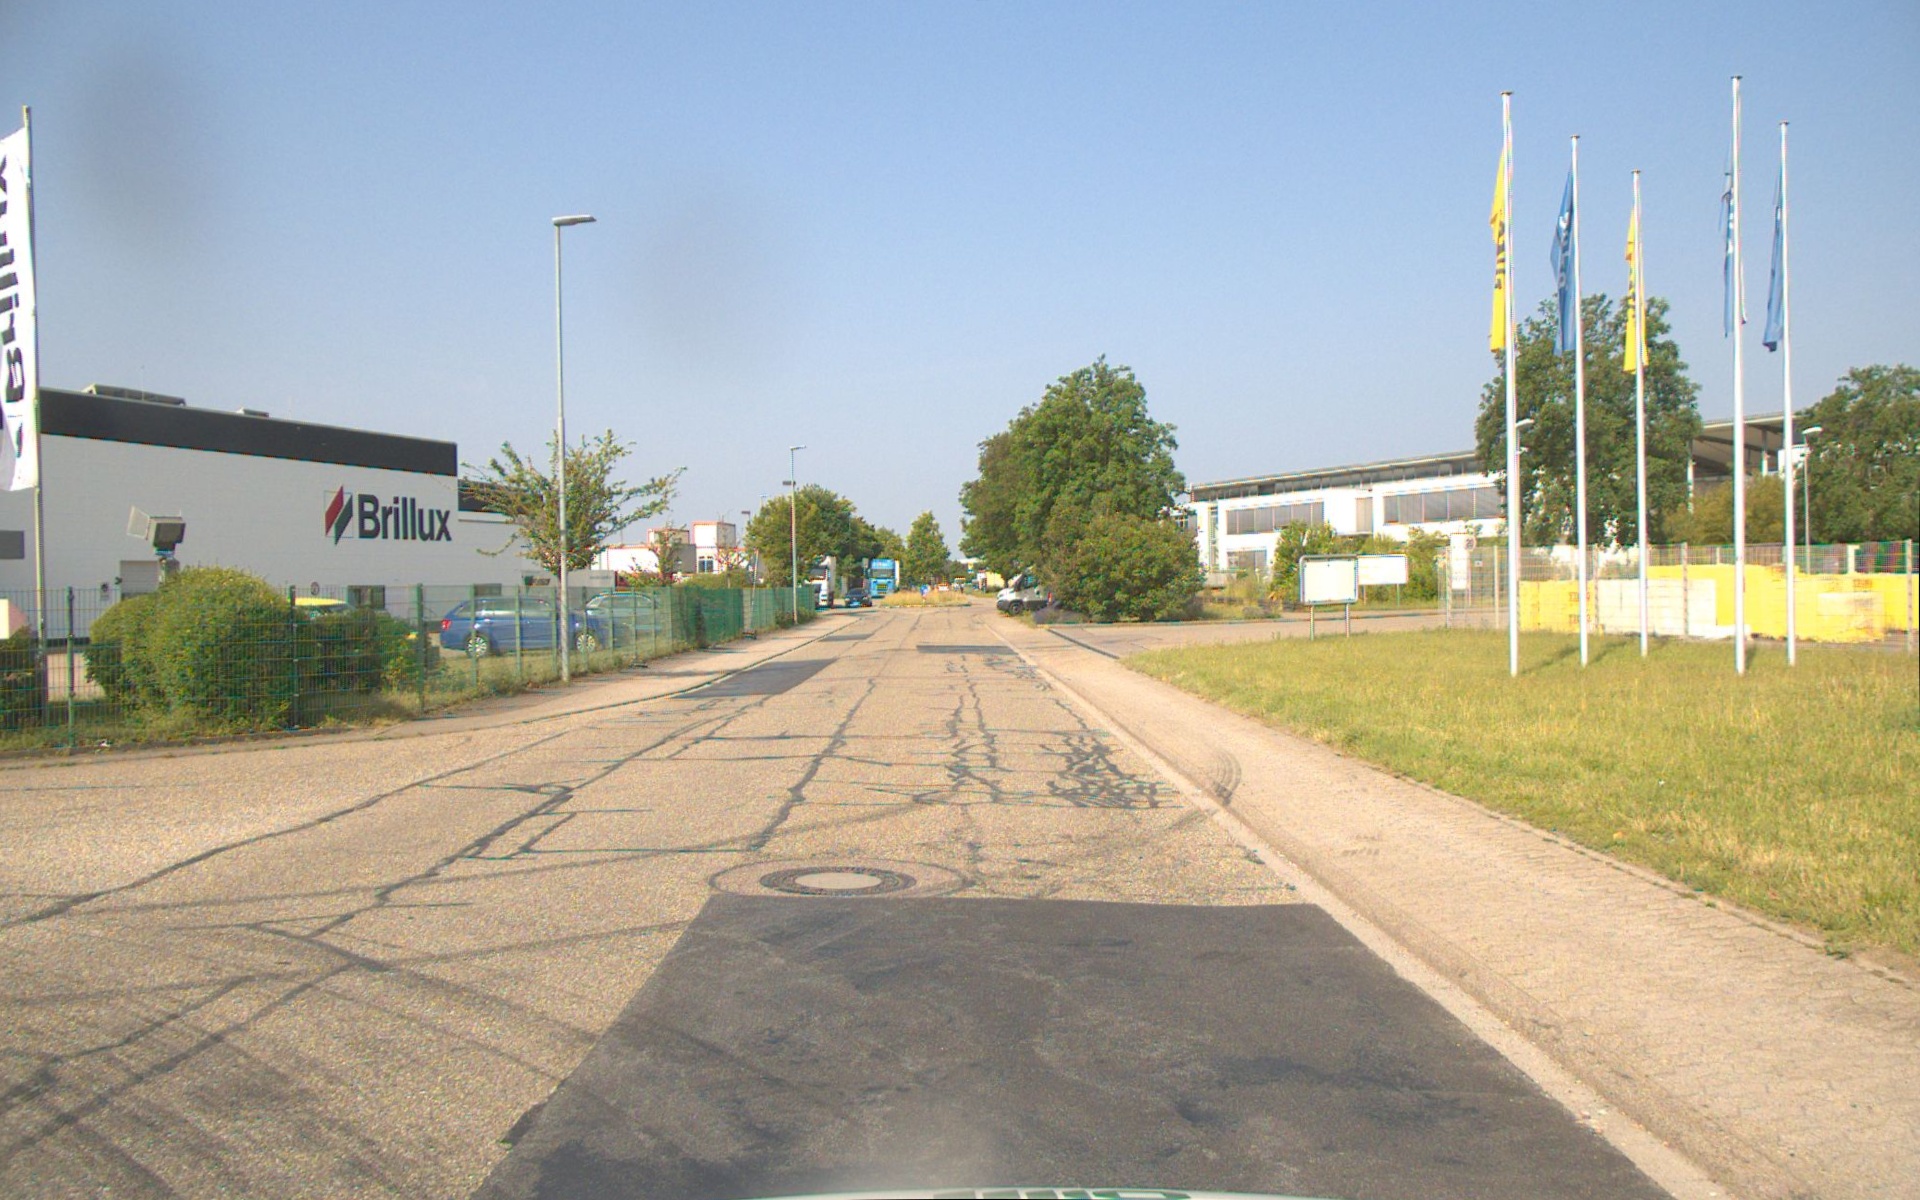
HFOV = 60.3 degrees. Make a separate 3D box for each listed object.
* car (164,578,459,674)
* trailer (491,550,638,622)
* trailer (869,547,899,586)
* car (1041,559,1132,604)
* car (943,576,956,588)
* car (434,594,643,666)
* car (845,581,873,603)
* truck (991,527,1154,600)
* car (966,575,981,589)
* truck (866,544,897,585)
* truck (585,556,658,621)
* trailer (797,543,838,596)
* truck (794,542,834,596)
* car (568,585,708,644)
[{"bbox_3d":[-10.594,0.403,27.243,4.079,1.392,1.868,-2,1,0],"label":"car"},{"bbox_3d":[-23.828,-0.768,100.868,2.429,4.112,13.898,0,0,15],"label":"trailer"},{"bbox_3d":[-8.151,-3.550,178.552,2.773,3.910,12.033,1,0,-1],"label":"trailer"},{"bbox_3d":[5.659,-0.833,74.179,3.905,1.870,2.000,-2,1,0],"label":"car"},{"bbox_3d":[-1.534,-2.641,244.774,1.684,1.689,3.822,1,0,-2],"label":"car"},{"bbox_3d":[-10.360,0.720,40.927,4.591,1.469,2.078,-3,1,-2],"label":"car"},{"bbox_3d":[-7.547,-0.641,124.014,1.954,1.474,4.418,-4,1,-2],"label":"car"},{"bbox_3d":[5.716,-1.836,84.815,8.043,3.429,2.740,-2,0,-2],"label":"truck"},{"bbox_3d":[1.740,-2.270,209.551,1.756,1.780,3.999,1,0,-2],"label":"car"},{"bbox_3d":[-7.973,-3.560,168.551,2.768,3.892,9.670,1,0,-1],"label":"truck"},{"bbox_3d":[-22.024,-0.743,107.885,2.459,4.142,5.548,0,0,14],"label":"truck"},{"bbox_3d":[-11.037,-2.299,128.417,2.645,3.990,7.573,1,0,-1],"label":"trailer"},{"bbox_3d":[-10.950,-2.298,124.190,2.654,3.990,4.295,1,0,-1],"label":"truck"},{"bbox_3d":[-10.185,0.441,52.524,4.044,1.594,1.865,-3,1,-2],"label":"car"}]
